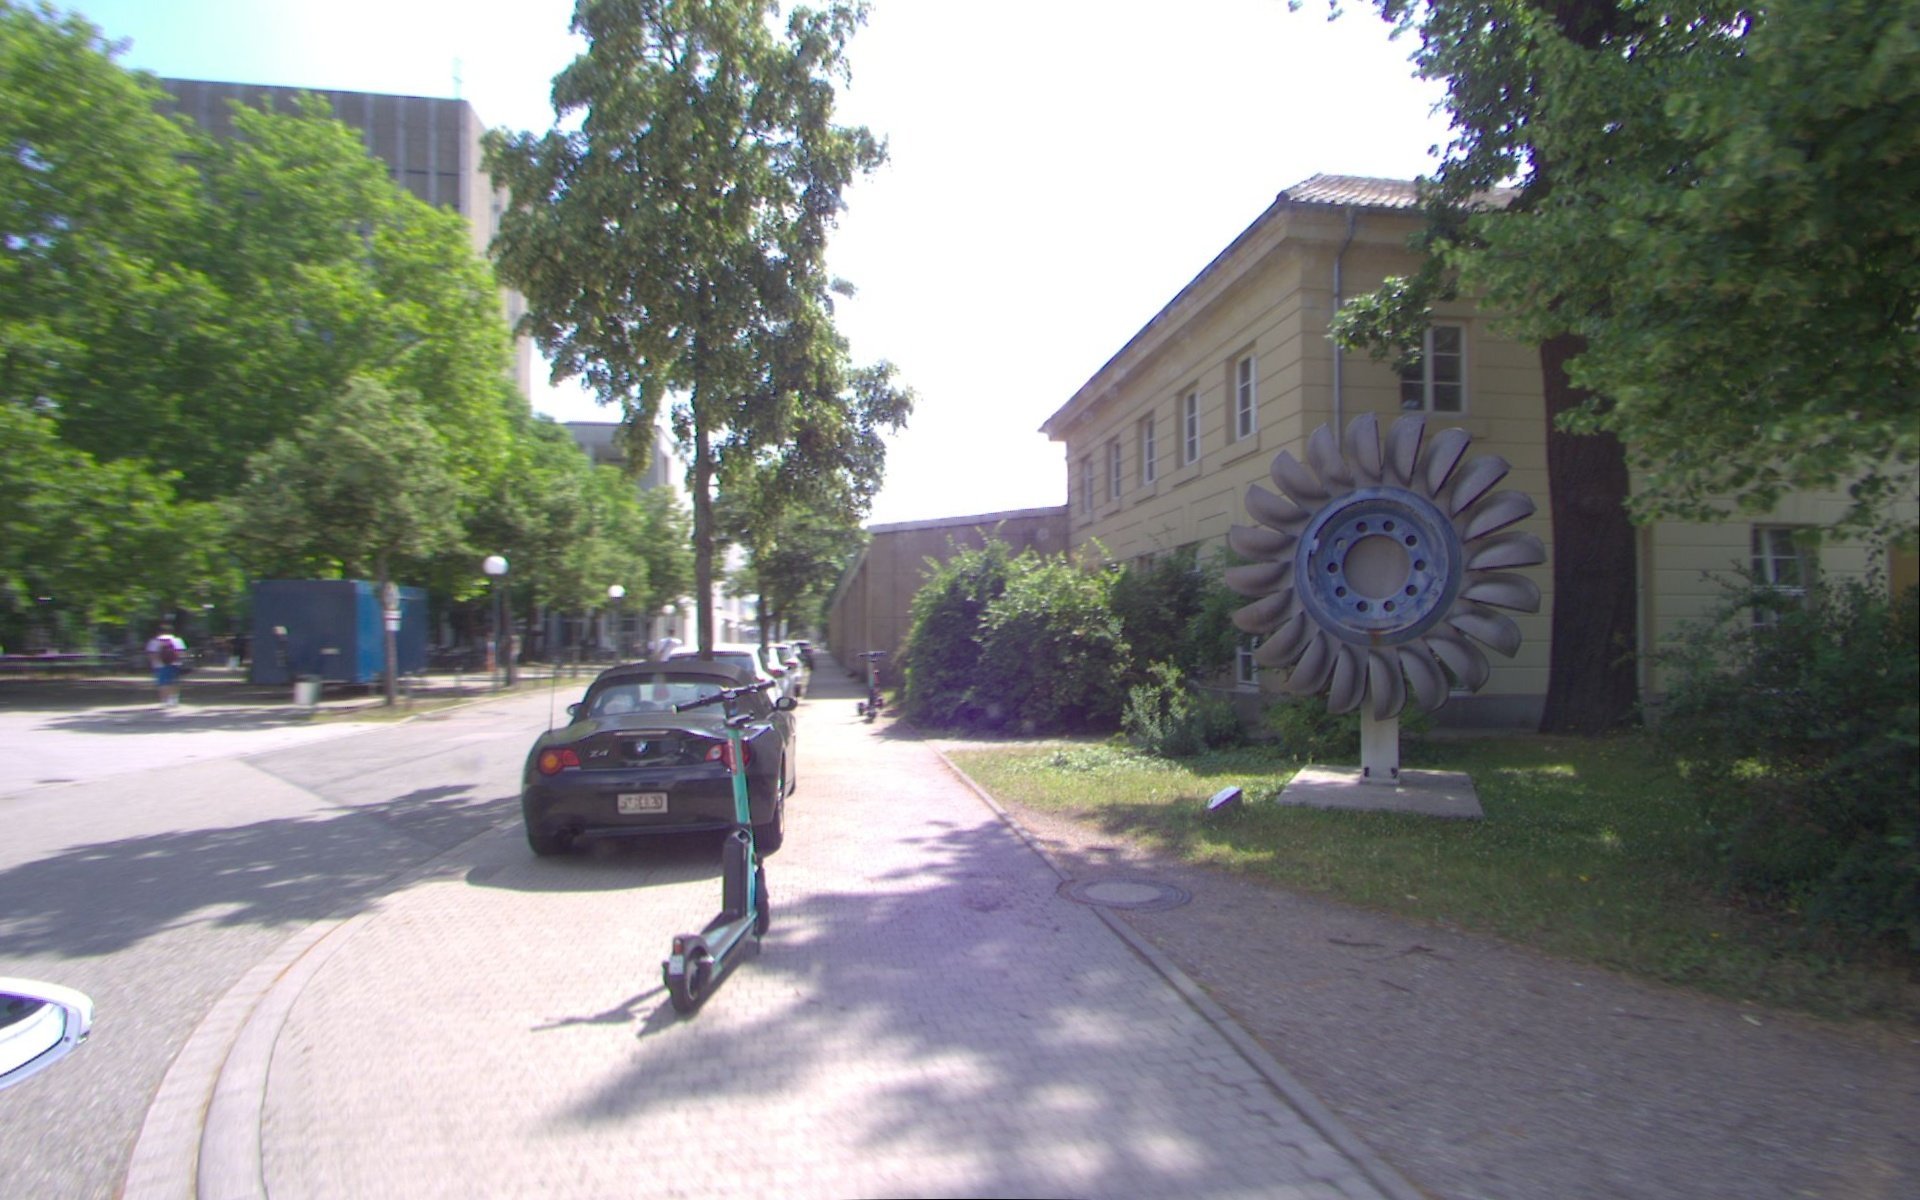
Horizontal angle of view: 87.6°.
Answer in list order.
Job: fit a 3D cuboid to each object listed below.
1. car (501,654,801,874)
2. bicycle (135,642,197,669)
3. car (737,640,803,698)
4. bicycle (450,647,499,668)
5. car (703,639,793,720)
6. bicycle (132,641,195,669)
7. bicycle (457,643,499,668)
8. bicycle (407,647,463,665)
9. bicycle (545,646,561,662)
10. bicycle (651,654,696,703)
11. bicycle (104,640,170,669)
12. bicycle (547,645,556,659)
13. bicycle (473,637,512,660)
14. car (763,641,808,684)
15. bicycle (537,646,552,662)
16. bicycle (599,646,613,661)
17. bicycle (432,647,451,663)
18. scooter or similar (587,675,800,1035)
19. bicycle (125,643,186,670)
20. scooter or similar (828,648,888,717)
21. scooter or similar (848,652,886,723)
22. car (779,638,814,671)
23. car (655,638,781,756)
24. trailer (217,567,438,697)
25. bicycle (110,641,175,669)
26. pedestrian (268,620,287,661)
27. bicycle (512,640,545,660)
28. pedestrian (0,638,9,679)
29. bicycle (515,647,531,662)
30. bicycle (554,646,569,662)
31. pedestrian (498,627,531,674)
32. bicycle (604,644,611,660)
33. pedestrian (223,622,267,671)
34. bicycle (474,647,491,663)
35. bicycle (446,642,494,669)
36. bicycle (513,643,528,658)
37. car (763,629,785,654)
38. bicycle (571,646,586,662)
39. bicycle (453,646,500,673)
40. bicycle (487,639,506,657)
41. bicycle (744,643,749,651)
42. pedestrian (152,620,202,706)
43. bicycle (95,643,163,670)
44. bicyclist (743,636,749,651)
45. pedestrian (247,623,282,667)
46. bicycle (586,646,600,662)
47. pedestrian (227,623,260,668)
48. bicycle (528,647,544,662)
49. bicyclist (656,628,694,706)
[{"bbox_3d":[-2.248,1.127,8.298,1.681,1.296,4.001,0,-2,-7],"label":"car"},{"bbox_3d":[-33.792,2.359,42.635,1.979,1.133,0.584,0,-1,-17],"label":"bicycle"},{"bbox_3d":[-5.434,1.927,28.936,1.698,1.486,4.671,-1,-2,-10],"label":"car"},{"bbox_3d":[-24.584,2.906,50.682,2.129,1.021,0.673,2,-2,-38],"label":"bicycle"},{"bbox_3d":[-4.283,1.547,20.544,1.621,1.408,3.987,-1,-1,-10],"label":"car"},{"bbox_3d":[-33.355,2.306,41.961,1.979,1.133,0.584,0,-1,-17],"label":"bicycle"},{"bbox_3d":[-22.743,2.607,47.255,1.751,1.146,0.457,2,-2,-26],"label":"bicycle"},{"bbox_3d":[-30.096,3.209,57.488,0.872,1.015,2.714,-1,-3,39],"label":"bicycle"},{"bbox_3d":[-29.792,3.965,73.345,0.543,1.100,1.973,2,-2,-8],"label":"bicycle"},{"bbox_3d":[-7.606,2.061,26.722,0.868,1.215,2.749,1,-2,-10],"label":"bicycle"},{"bbox_3d":[-33.144,2.191,40.362,1.979,1.133,0.584,0,-1,-17],"label":"bicycle"},{"bbox_3d":[-28.126,3.589,68.992,0.468,0.977,1.653,1,-2,-19],"label":"bicycle"},{"bbox_3d":[-30.918,3.193,66.226,2.267,1.468,0.602,2,-2,-41],"label":"bicycle"},{"bbox_3d":[-6.989,2.465,40.249,1.677,1.594,4.140,-1,-2,-10],"label":"car"},{"bbox_3d":[-30.381,3.964,73.234,0.543,1.100,1.973,2,-2,-8],"label":"bicycle"},{"bbox_3d":[-26.097,3.952,73.782,0.543,1.100,1.973,2,-2,-8],"label":"bicycle"},{"bbox_3d":[-37.428,3.978,72.261,0.543,1.100,1.973,2,-2,-8],"label":"bicycle"},{"bbox_3d":[-1.080,0.979,4.346,0.544,1.269,1.383,0,-2,0],"label":"scooter or similar"},{"bbox_3d":[-35.216,2.470,43.850,1.979,1.133,0.584,0,-1,-17],"label":"bicycle"},{"bbox_3d":[-2.039,1.639,20.157,0.588,1.283,1.260,-1,0,29],"label":"scooter or similar"},{"bbox_3d":[-1.680,1.569,18.220,0.511,1.237,1.237,-1,-2,2],"label":"scooter or similar"},{"bbox_3d":[-9.046,3.019,55.388,1.794,1.684,4.585,-1,-3,-10],"label":"car"},{"bbox_3d":[-3.437,1.329,14.746,1.562,1.484,3.989,0,-3,-10],"label":"car"},{"bbox_3d":[-16.794,0.909,27.183,2.654,3.064,6.266,1,-2,-8],"label":"trailer"},{"bbox_3d":[-33.540,2.249,41.105,1.979,1.133,0.584,0,-1,-17],"label":"bicycle"},{"bbox_3d":[-32.576,1.923,47.766,0.510,1.928,0.587,-1,-1,32],"label":"pedestrian"},{"bbox_3d":[-29.178,3.378,67.720,1.999,1.270,0.582,1,-1,-41],"label":"bicycle"},{"bbox_3d":[-34.070,2.049,35.374,0.498,1.440,0.459,1,-1,-18],"label":"pedestrian"},{"bbox_3d":[-31.826,3.960,72.932,0.543,1.100,1.973,2,-2,-8],"label":"bicycle"},{"bbox_3d":[-29.250,3.969,73.488,0.543,1.100,1.973,2,-2,-8],"label":"bicycle"},{"bbox_3d":[-19.255,2.176,43.326,0.903,1.979,0.893,2,-2,2],"label":"pedestrian"},{"bbox_3d":[-23.854,3.510,67.769,0.376,1.038,1.811,1,-2,-20],"label":"bicycle"},{"bbox_3d":[-29.680,1.927,41.581,0.878,1.972,1.121,1,-2,29],"label":"pedestrian"},{"bbox_3d":[-34.584,3.966,72.565,0.543,1.100,1.973,2,-2,-8],"label":"bicycle"},{"bbox_3d":[-23.699,2.676,48.486,2.029,1.250,0.806,2,-2,-26],"label":"bicycle"},{"bbox_3d":[-30.991,3.569,70.593,0.468,1.045,1.850,0,-2,-7],"label":"bicycle"},{"bbox_3d":[-20.175,4.483,108.715,2.051,2.571,4.315,1,-2,-8],"label":"car"},{"bbox_3d":[-28.177,3.992,73.982,0.543,1.100,1.973,2,-2,-8],"label":"bicycle"},{"bbox_3d":[-23.907,2.933,49.540,2.029,1.250,0.806,3,-3,-26],"label":"bicycle"},{"bbox_3d":[-33.481,3.471,72.354,0.517,1.269,2.382,0,-2,-7],"label":"bicycle"},{"bbox_3d":[-29.628,6.488,138.847,0.674,1.144,1.888,0,-2,-10],"label":"bicycle"},{"bbox_3d":[-17.586,1.407,22.495,0.844,1.859,0.871,2,0,-39],"label":"pedestrian"},{"bbox_3d":[-32.723,2.235,39.473,1.979,1.021,0.584,0,-1,-17],"label":"bicycle"},{"bbox_3d":[-29.621,6.043,138.783,0.700,2.039,1.018,-1,-1,-10],"label":"bicyclist"},{"bbox_3d":[-31.676,2.060,45.624,0.878,1.972,0.917,1,-2,30],"label":"pedestrian"},{"bbox_3d":[-27.051,3.968,73.842,0.543,1.100,1.973,2,-2,-8],"label":"bicycle"},{"bbox_3d":[-32.174,2.033,44.970,0.839,1.972,0.820,1,-2,30],"label":"pedestrian"},{"bbox_3d":[-31.035,3.974,73.269,0.543,1.100,1.973,2,-2,-8],"label":"bicycle"},{"bbox_3d":[-7.606,1.784,26.764,0.860,2.039,0.849,1,-2,-10],"label":"bicyclist"}]
